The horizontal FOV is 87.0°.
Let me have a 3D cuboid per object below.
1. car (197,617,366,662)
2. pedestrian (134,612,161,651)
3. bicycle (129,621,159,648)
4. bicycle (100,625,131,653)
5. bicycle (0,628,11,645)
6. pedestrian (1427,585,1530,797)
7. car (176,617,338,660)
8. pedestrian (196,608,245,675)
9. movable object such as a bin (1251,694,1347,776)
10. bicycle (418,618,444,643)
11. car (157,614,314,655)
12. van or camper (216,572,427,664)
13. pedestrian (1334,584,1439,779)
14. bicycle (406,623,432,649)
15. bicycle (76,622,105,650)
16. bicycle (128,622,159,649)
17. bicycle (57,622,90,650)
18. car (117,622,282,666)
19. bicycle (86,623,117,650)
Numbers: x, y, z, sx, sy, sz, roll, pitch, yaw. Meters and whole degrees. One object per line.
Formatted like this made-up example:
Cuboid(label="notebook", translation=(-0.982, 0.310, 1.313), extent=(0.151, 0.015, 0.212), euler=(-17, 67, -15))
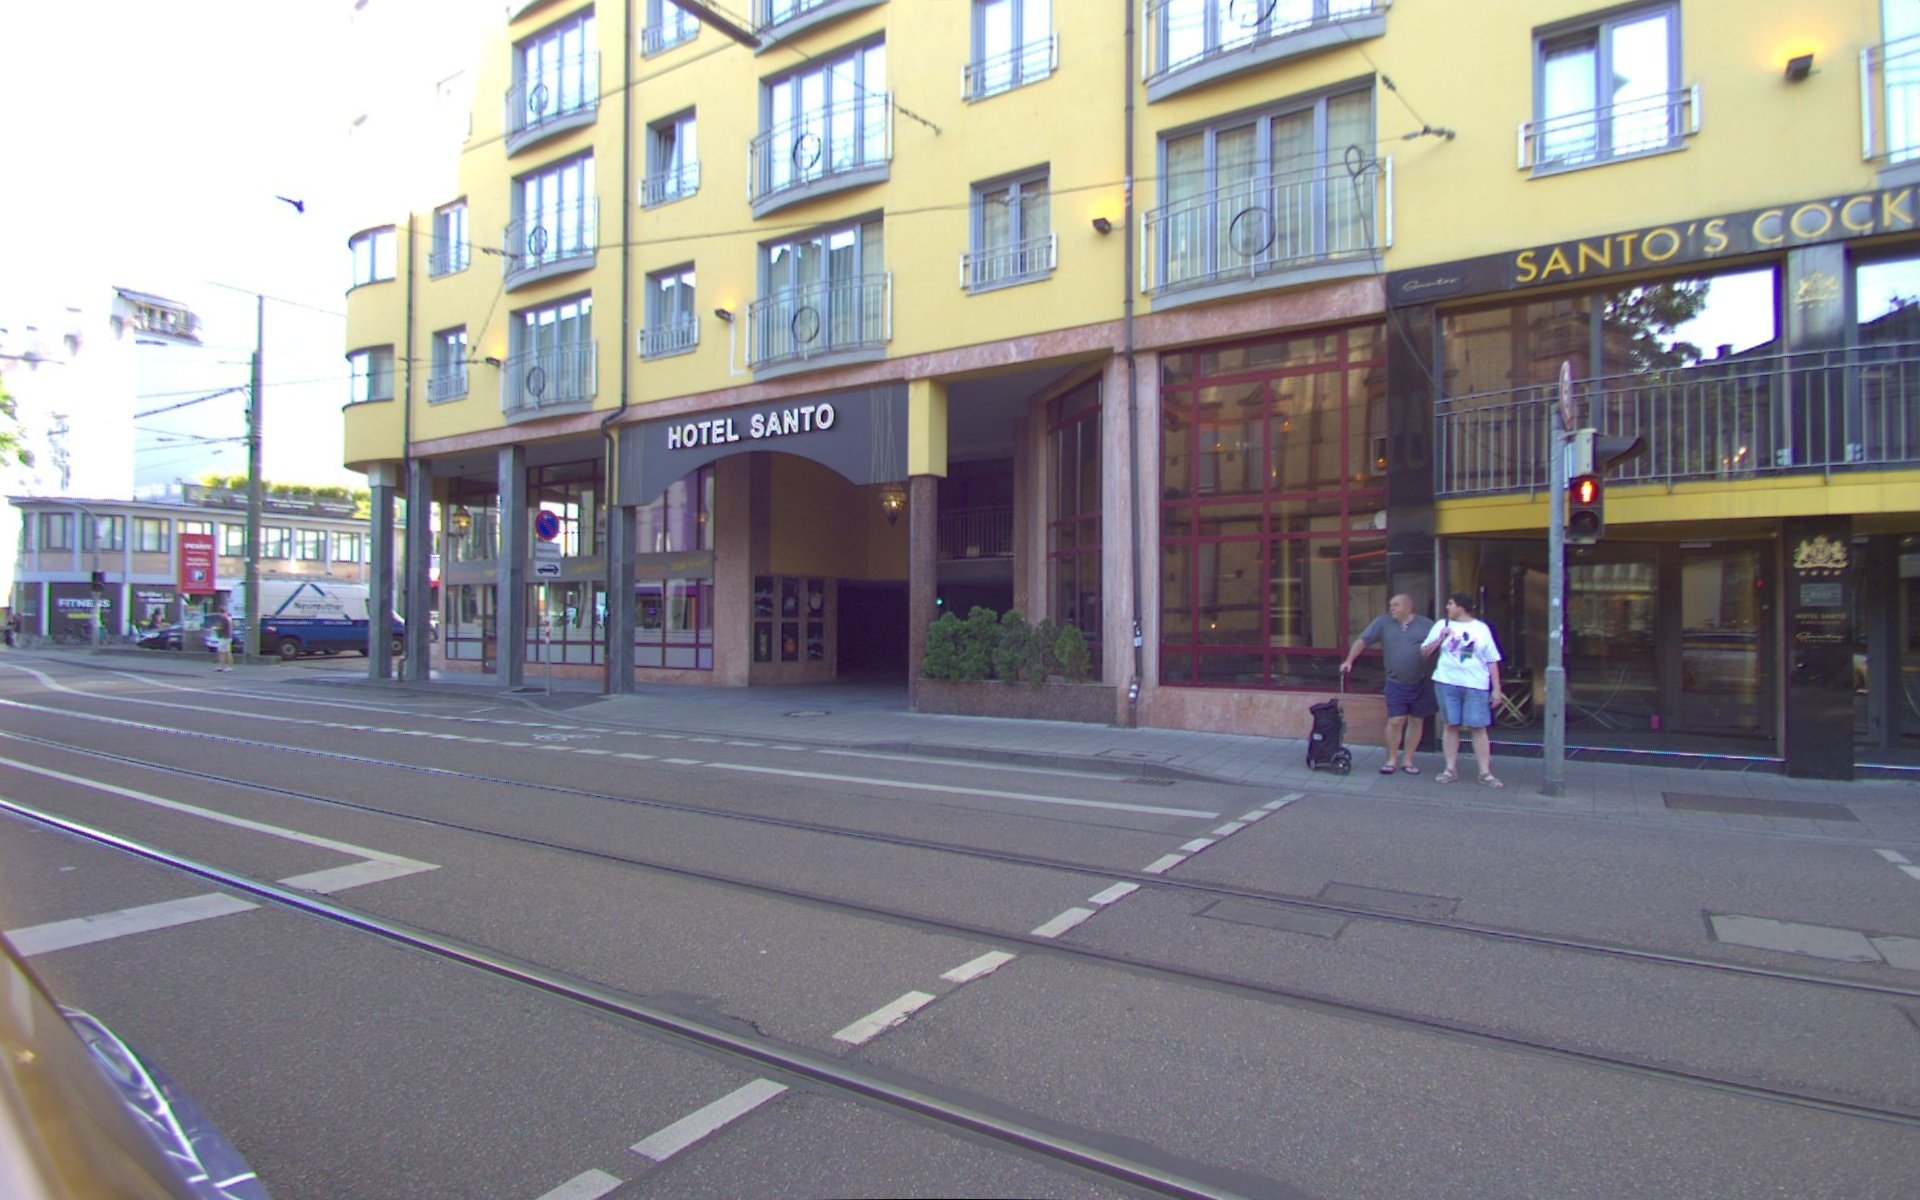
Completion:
Cuboid(label="car", translation=(-23.657, 1.368, 35.474), extent=(1.874, 1.487, 4.551), euler=(-1, -2, 33))
Cuboid(label="pedestrian", translation=(-35.938, 1.402, 44.765), extent=(0.681, 1.710, 0.676), euler=(-1, -2, 31))
Cuboid(label="bicycle", translation=(-37.009, 1.564, 45.896), extent=(1.824, 1.196, 0.445), euler=(-1, -2, 30))
Cuboid(label="bicycle", translation=(-37.828, 1.745, 45.341), extent=(1.824, 1.196, 0.440), euler=(-1, -2, 30))
Cuboid(label="bicycle", translation=(-53.672, 2.048, 55.894), extent=(0.389, 0.919, 1.827), euler=(-6, -4, 38))
Cuboid(label="pedestrian", translation=(4.927, 0.808, 9.581), extent=(0.751, 1.832, 1.035), euler=(-2, 2, 31))
Cuboid(label="car", translation=(-25.837, 1.417, 37.366), extent=(1.874, 1.487, 4.551), euler=(-1, -2, 33))
Cuboid(label="pedestrian", translation=(-20.735, 1.153, 28.386), extent=(0.906, 1.846, 0.827), euler=(-1, -2, 32))
Cuboid(label="movable object such as a bin", translation=(3.445, 1.356, 10.282), extent=(0.839, 0.721, 0.380), euler=(-1, 2, 34))
Cuboid(label="bicycle", translation=(-25.243, 1.466, 48.257), extent=(1.830, 1.196, 0.427), euler=(-2, -3, 40))
Cuboid(label="car", translation=(-27.689, 1.333, 38.839), extent=(1.874, 1.487, 4.551), euler=(-1, -2, 33))
Cuboid(label="van or camper", translation=(-21.442, 0.655, 34.263), extent=(2.309, 2.849, 5.560), euler=(-2, -2, 33))
Cuboid(label="pedestrian", translation=(4.198, 0.765, 9.953), extent=(0.798, 1.784, 0.741), euler=(-1, 2, 32))
Cuboid(label="bicycle", translation=(-25.577, 1.687, 47.867), extent=(1.830, 1.196, 0.427), euler=(-2, -3, 40))
Cuboid(label="bicycle", translation=(-38.272, 1.582, 44.538), extent=(1.826, 1.196, 0.437), euler=(-1, -2, 33))
Cuboid(label="bicycle", translation=(-36.433, 1.583, 45.164), extent=(1.824, 1.196, 0.445), euler=(-1, -2, 30))
Cuboid(label="bicycle", translation=(-38.778, 1.585, 44.268), extent=(1.822, 1.196, 0.443), euler=(-1, -2, 27))
Cuboid(label="car", translation=(-29.847, 1.709, 39.896), extent=(1.874, 1.595, 4.855), euler=(-1, -2, 33))
Cuboid(label="bicycle", translation=(-38.192, 1.626, 45.007), extent=(1.824, 1.196, 0.445), euler=(-1, -2, 30))
